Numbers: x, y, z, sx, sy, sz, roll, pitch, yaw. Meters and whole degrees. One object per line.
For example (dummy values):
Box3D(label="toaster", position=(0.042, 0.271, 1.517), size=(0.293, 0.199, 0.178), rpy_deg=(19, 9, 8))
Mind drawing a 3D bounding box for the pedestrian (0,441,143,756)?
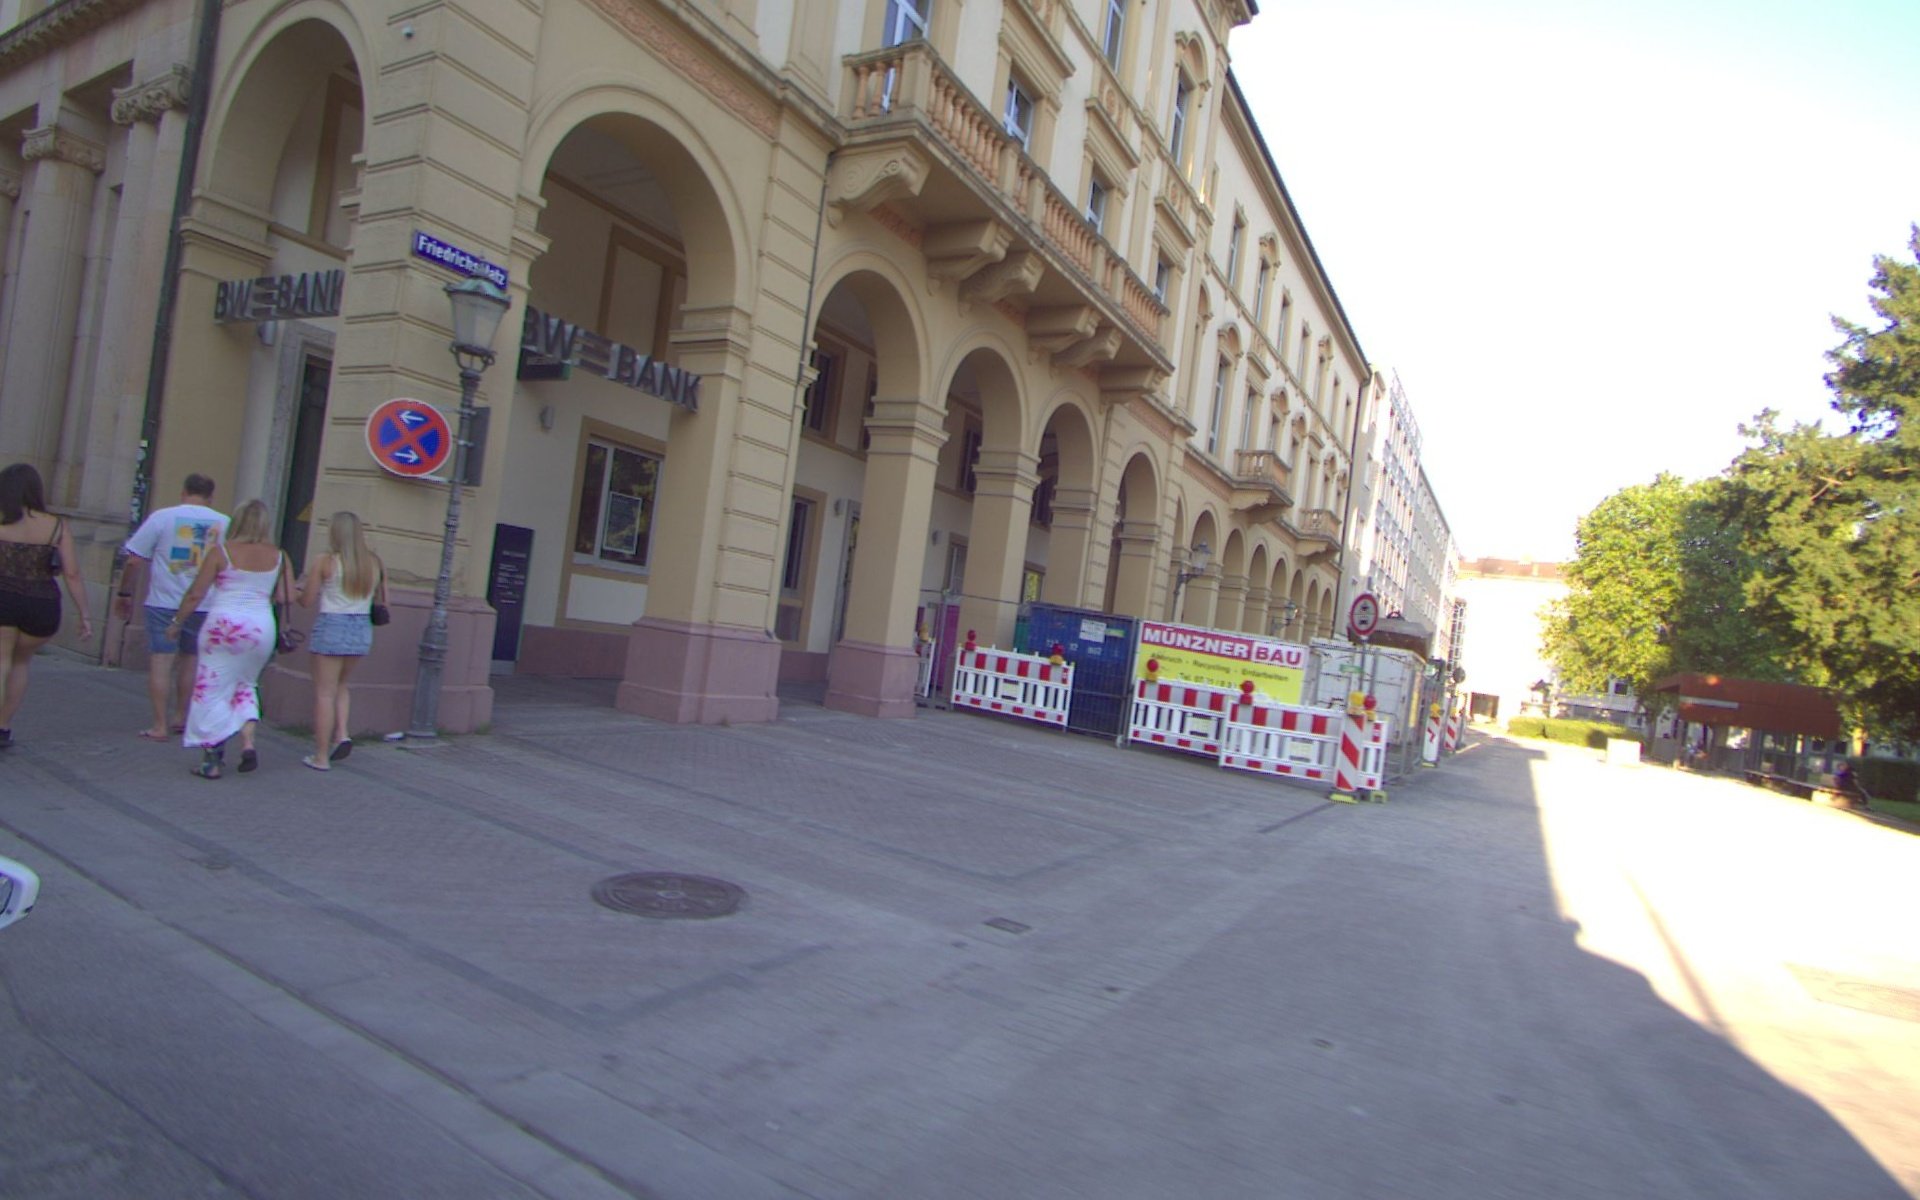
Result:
Box3D(label="pedestrian", position=(-5.666, -0.022, 6.030), size=(0.860, 1.767, 0.777), rpy_deg=(7, -1, 30))

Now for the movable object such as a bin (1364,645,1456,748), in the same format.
Box3D(label="movable object such as a bin", position=(15.423, 3.315, 34.317), size=(1.967, 3.043, 4.897), rpy_deg=(7, -2, 32))

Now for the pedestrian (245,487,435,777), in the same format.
Box3D(label="pedestrian", position=(-4.213, 0.212, 6.851), size=(0.759, 1.824, 0.637), rpy_deg=(7, -1, 30))

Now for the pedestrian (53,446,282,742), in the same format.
Box3D(label="pedestrian", position=(-5.514, -0.037, 7.020), size=(0.860, 1.897, 0.813), rpy_deg=(7, -1, 30))

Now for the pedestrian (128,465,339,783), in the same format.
Box3D(label="pedestrian", position=(-4.521, 0.142, 6.272), size=(0.759, 1.824, 0.637), rpy_deg=(7, -1, 30))

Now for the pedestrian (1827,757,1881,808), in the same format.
Box3D(label="pedestrian", position=(26.254, 5.352, 29.559), size=(0.911, 1.266, 0.709), rpy_deg=(7, -1, 26))

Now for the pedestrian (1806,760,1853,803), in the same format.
Box3D(label="pedestrian", position=(26.384, 5.500, 30.530), size=(0.819, 1.105, 0.709), rpy_deg=(7, -1, 26))

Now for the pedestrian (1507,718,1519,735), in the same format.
Box3D(label="pedestrian", position=(56.970, 13.057, 103.632), size=(0.834, 1.614, 0.644), rpy_deg=(7, -1, 30))
